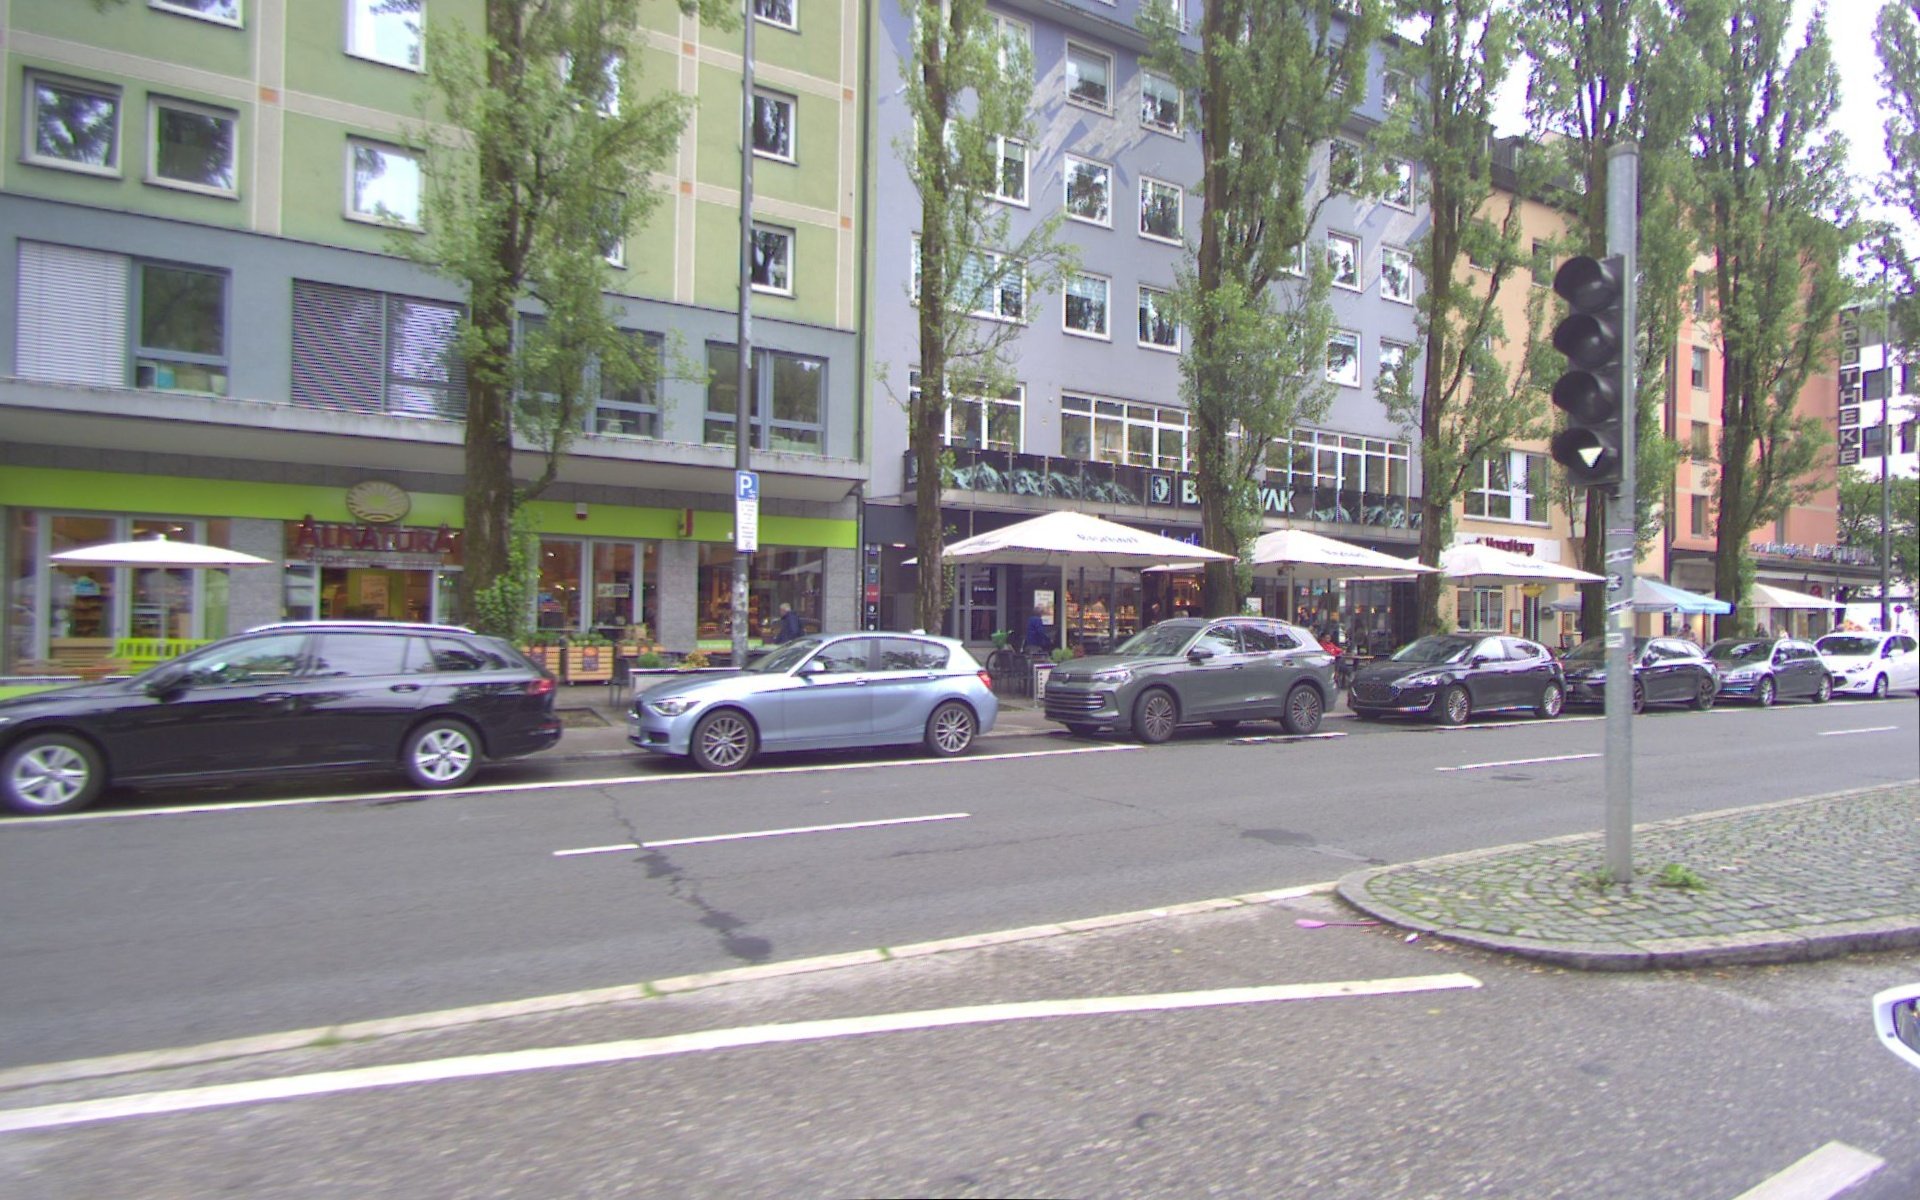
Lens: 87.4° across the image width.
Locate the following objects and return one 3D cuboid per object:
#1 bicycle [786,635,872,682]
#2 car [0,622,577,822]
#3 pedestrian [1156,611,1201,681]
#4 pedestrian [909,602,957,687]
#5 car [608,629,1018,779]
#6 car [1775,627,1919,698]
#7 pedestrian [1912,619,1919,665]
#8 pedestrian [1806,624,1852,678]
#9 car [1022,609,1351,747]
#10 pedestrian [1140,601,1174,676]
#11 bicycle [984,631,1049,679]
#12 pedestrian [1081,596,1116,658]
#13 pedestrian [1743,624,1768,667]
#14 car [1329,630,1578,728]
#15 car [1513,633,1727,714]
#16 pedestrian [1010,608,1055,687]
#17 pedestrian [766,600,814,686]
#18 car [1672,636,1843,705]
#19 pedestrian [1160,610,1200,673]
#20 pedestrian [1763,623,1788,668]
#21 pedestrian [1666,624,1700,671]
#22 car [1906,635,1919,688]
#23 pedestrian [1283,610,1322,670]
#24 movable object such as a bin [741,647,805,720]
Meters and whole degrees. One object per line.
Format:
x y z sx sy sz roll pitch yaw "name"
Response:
-2.881 1.272 22.127 1.827 0.984 0.477 1 0 -29 "bicycle"
-5.966 0.971 9.022 4.530 1.465 1.696 2 -2 -29 "car"
5.214 1.091 23.959 0.746 1.623 0.738 1 -1 -27 "pedestrian"
-0.591 0.951 21.816 0.746 1.778 0.815 1 0 -28 "pedestrian"
-1.596 1.091 11.487 4.350 1.436 1.650 2 -3 -30 "car"
22.061 1.517 24.746 4.046 1.604 1.696 2 -3 -29 "car"
37.940 1.670 39.352 0.768 1.794 0.721 1 0 -28 "pedestrian"
30.361 1.779 35.108 0.975 1.819 0.736 2 0 -11 "pedestrian"
3.270 1.063 14.286 4.528 1.702 1.773 2 -3 -28 "car"
5.937 1.150 30.269 0.684 2.241 0.777 1 -1 -29 "pedestrian"
1.371 1.298 24.052 1.568 1.111 0.611 1 -1 -40 "bicycle"
4.178 0.817 30.285 0.733 1.828 0.778 1 -1 -26 "pedestrian"
31.191 1.766 39.373 0.684 1.660 0.552 1 -1 -29 "pedestrian"
8.426 1.292 17.074 4.317 1.485 1.670 2 -3 -29 "car"
12.960 1.399 19.673 4.380 1.431 1.696 2 -3 -29 "car"
1.663 1.092 23.173 0.746 1.778 0.737 1 -1 -28 "pedestrian"
-3.458 0.860 20.422 0.746 1.695 0.706 1 0 -28 "pedestrian"
17.578 1.520 22.105 4.136 1.399 1.487 2 -3 -29 "car"
5.844 1.097 26.692 0.734 1.623 0.750 1 -1 -30 "pedestrian"
31.651 1.765 38.994 0.684 1.740 0.552 1 -1 -29 "pedestrian"
26.793 1.754 37.228 0.792 1.690 0.777 1 -1 -29 "pedestrian"
28.722 1.754 28.325 4.535 1.457 1.696 2 -3 -29 "car"
9.707 1.124 28.450 0.746 1.662 0.738 1 -1 -27 "pedestrian"
-2.872 1.272 15.496 0.716 1.061 0.663 0 -1 22 "movable object such as a bin"
